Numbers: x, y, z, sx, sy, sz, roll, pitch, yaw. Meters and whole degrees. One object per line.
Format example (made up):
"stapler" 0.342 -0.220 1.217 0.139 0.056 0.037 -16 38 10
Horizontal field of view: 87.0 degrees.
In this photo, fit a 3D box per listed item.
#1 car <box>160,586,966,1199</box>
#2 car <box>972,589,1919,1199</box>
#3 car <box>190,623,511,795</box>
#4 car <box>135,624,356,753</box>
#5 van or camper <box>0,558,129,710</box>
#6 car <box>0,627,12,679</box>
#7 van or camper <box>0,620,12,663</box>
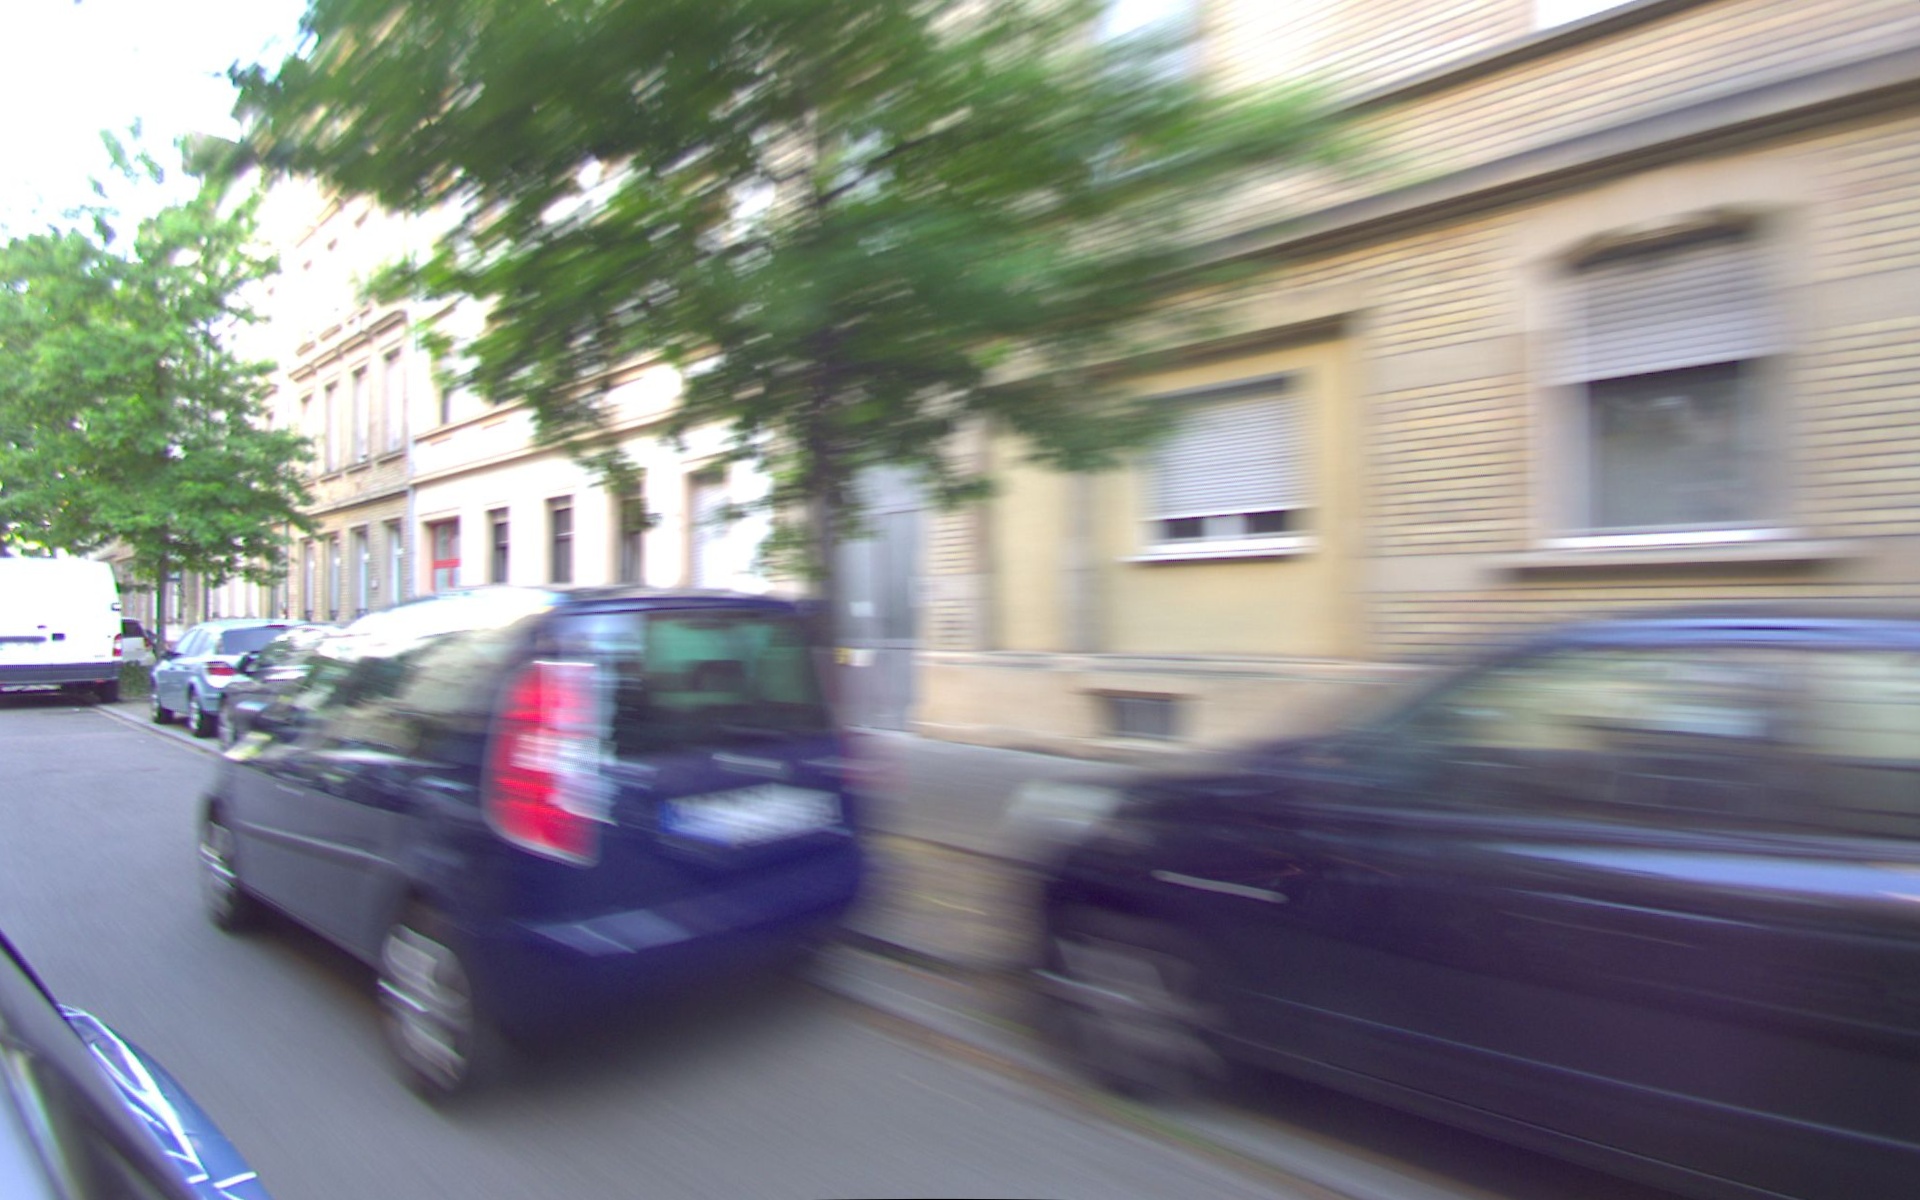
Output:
"car" -2.102 0.821 4.559 4.219 1.585 1.705 -2 -2 43
"car" 1.984 0.740 2.778 3.710 1.513 1.673 -1 -1 42
"car" -6.633 1.004 10.827 4.257 1.473 1.748 -2 -2 41
"car" -10.008 1.112 14.053 4.113 1.521 1.666 -2 -2 42
"van or camper" -17.190 0.626 18.586 5.660 2.449 2.195 -2 -3 43
"car" -28.956 1.509 29.285 4.279 1.468 1.644 -2 -3 39
"van or camper" -43.518 1.835 44.895 3.754 1.872 1.662 -2 -2 40
